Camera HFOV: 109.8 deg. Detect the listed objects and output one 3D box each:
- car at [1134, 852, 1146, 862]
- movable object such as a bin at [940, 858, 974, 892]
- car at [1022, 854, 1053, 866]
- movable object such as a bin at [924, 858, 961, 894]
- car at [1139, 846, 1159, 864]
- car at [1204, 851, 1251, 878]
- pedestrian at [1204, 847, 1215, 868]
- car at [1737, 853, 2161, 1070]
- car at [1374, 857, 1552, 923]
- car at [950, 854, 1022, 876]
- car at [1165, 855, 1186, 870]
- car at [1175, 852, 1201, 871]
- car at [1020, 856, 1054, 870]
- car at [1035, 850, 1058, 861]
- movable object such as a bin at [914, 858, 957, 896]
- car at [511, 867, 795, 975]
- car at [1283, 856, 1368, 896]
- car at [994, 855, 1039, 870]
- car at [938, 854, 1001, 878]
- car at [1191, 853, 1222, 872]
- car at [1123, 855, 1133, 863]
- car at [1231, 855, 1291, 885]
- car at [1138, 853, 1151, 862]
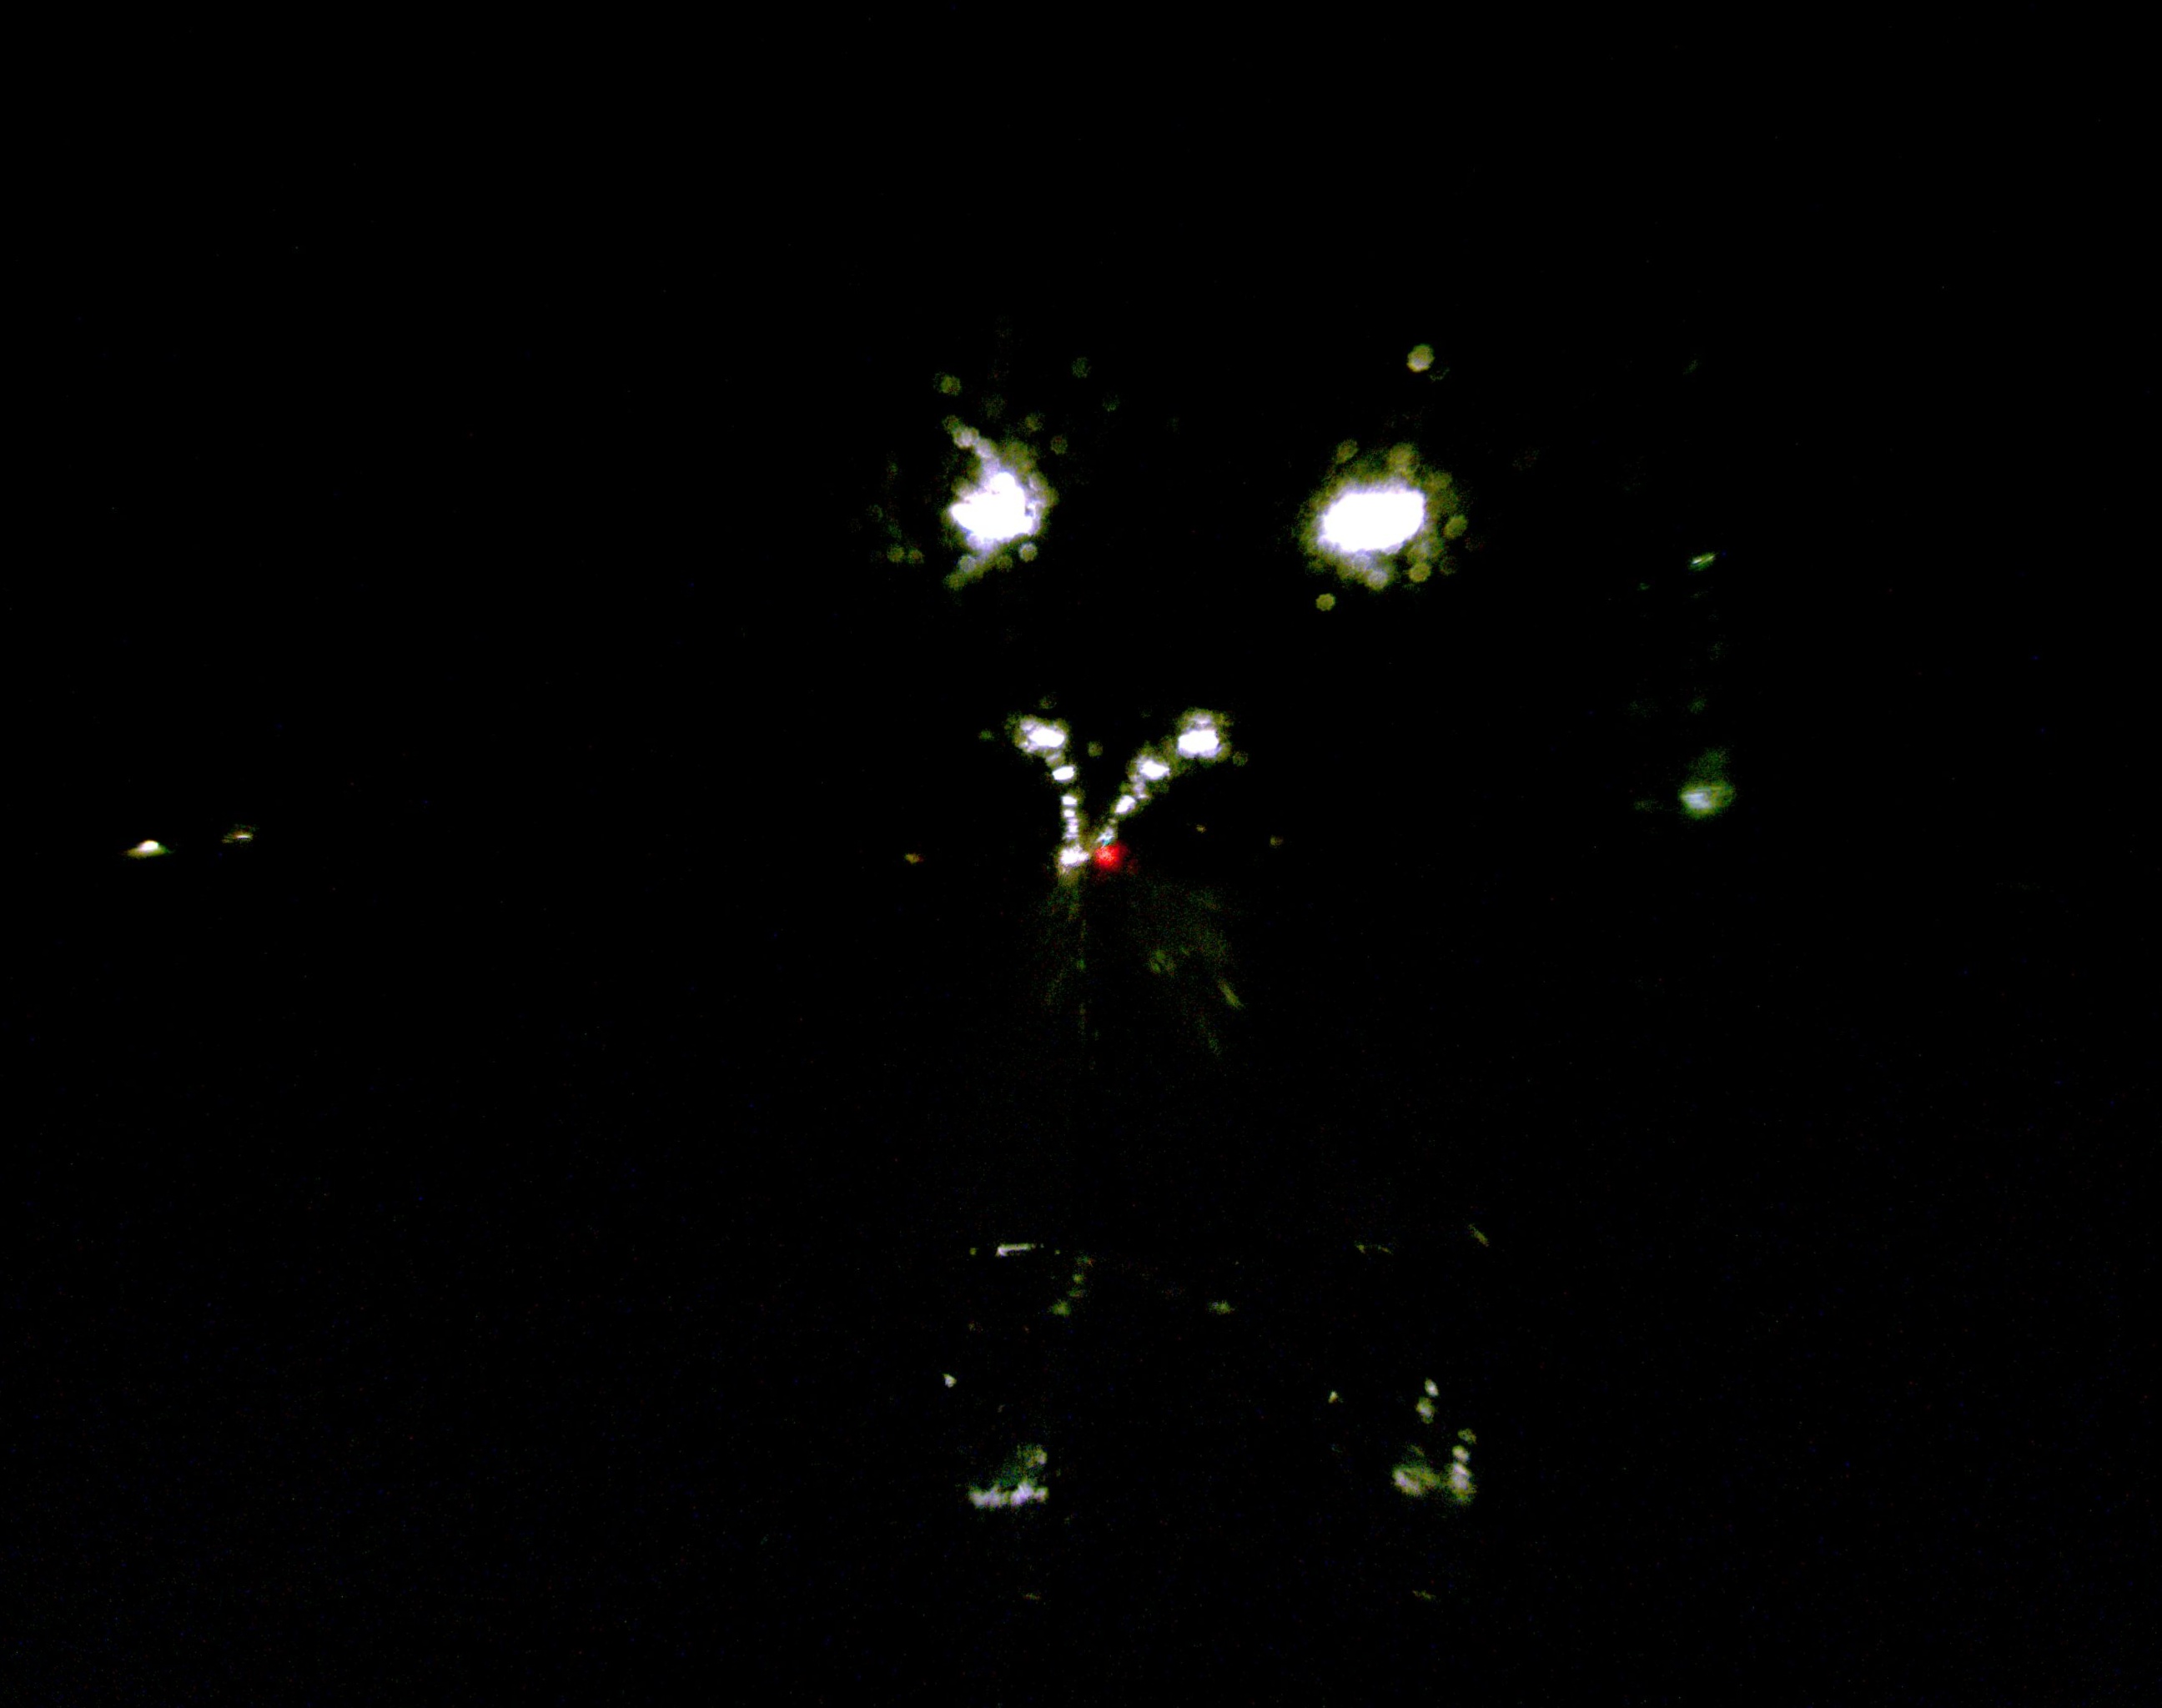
[{"bbox_3d":[10.392,0.557,134.273,1.846,1.572,3.663,-3,1,-1],"label":"car"},{"bbox_3d":[-5.227,0.870,32.057,1.326,1.400,1.159,0,1,-5],"label":"movable object such as a bin"},{"bbox_3d":[-5.948,0.854,103.801,1.658,1.473,4.194,-3,-1,42],"label":"car"},{"bbox_3d":[-5.640,0.869,30.903,1.210,1.414,1.101,1,1,6],"label":"movable object such as a bin"},{"bbox_3d":[10.140,0.085,113.278,2.248,2.494,5.258,-3,1,-2],"label":"car"},{"bbox_3d":[9.768,0.654,50.985,2.149,1.610,4.588,-4,1,0],"label":"car"},{"bbox_3d":[11.964,0.288,70.678,0.794,1.890,1.290,-1,1,1],"label":"pedestrian"},{"bbox_3d":[9.300,0.844,7.378,1.885,1.536,4.398,-5,1,-2],"label":"car"},{"bbox_3d":[9.695,0.834,19.856,1.893,1.454,4.958,-1,0,-4],"label":"car"},{"bbox_3d":[-6.482,0.734,51.888,4.604,1.467,1.837,0,0,-19],"label":"car"},{"bbox_3d":[9.878,0.874,79.845,1.723,1.447,3.950,-1,1,0],"label":"car"},{"bbox_3d":[9.954,0.679,70.985,1.814,1.569,4.353,-4,0,1],"label":"car"},{"bbox_3d":[-5.278,1.070,91.531,1.707,1.503,3.914,-1,1,44],"label":"car"},{"bbox_3d":[-6.161,0.301,136.093,3.965,1.760,1.666,-2,1,-37],"label":"car"},{"bbox_3d":[-5.689,0.897,29.765,1.371,1.414,1.073,1,1,6],"label":"movable object such as a bin"},{"bbox_3d":[-7.398,1.072,13.595,4.111,1.528,1.956,-2,1,-25],"label":"car"},{"bbox_3d":[9.604,0.809,30.175,1.845,1.415,4.207,-1,0,-3],"label":"car"},{"bbox_3d":[-6.587,0.865,77.668,4.350,1.459,1.677,-1,0,-38],"label":"car"},{"bbox_3d":[-7.122,0.742,48.424,3.708,1.509,1.656,0,0,-18],"label":"car"},{"bbox_3d":[9.891,0.643,60.136,1.735,1.430,4.625,-1,1,1],"label":"car"},{"bbox_3d":[9.644,0.961,155.439,1.693,1.565,3.918,-1,1,1],"label":"car"},{"bbox_3d":[9.266,0.785,39.502,1.778,1.432,4.606,-1,0,-3],"label":"car"},{"bbox_3d":[10.433,0.574,125.646,1.720,1.399,3.389,-3,1,-1],"label":"car"}]
